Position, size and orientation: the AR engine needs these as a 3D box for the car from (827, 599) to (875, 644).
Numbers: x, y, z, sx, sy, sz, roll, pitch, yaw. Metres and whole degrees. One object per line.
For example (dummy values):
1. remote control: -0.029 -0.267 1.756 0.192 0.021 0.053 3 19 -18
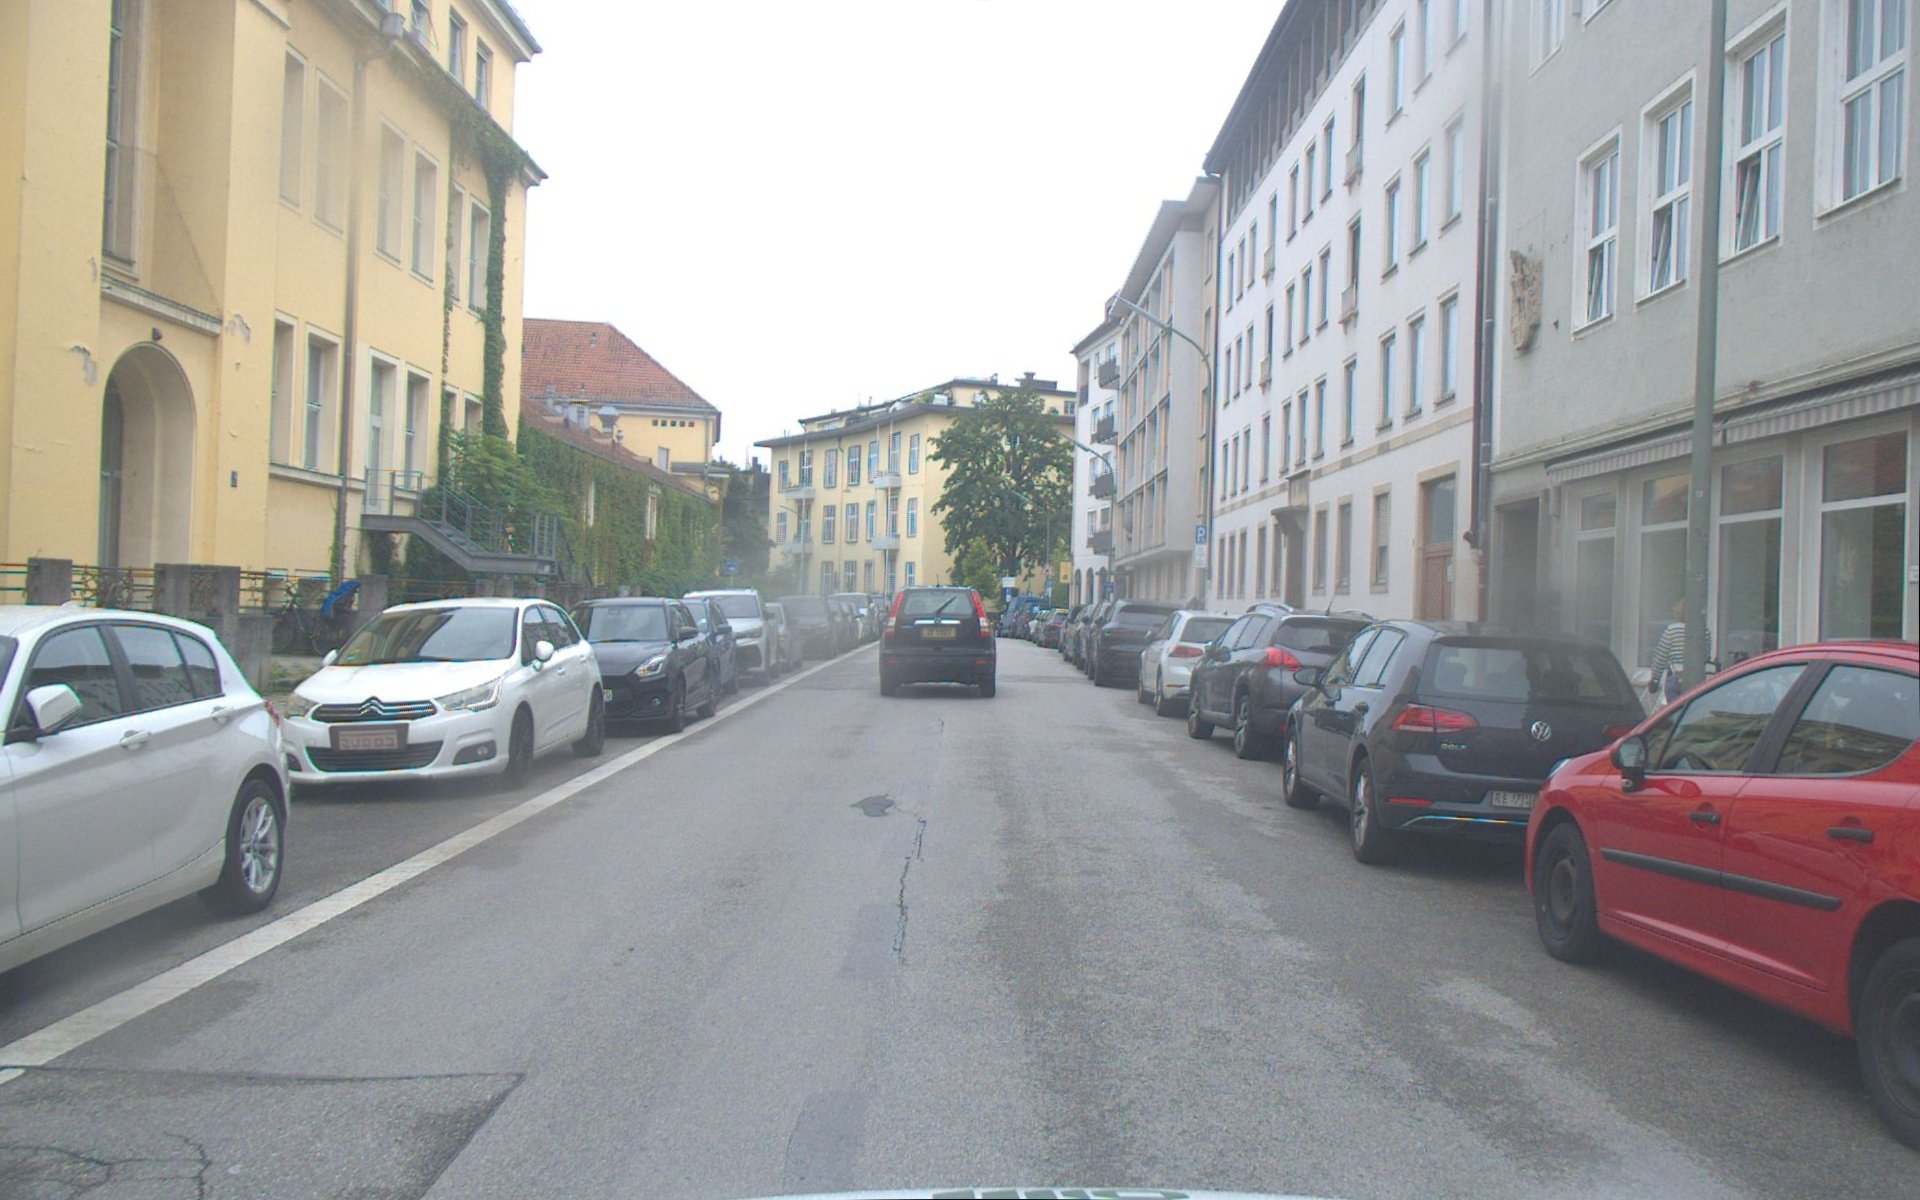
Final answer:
1. car: -3.811 0.724 58.459 1.546 1.518 3.729 0 0 -2

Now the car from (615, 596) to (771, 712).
1. car: -3.866 0.730 24.559 1.645 1.531 3.973 -2 0 0

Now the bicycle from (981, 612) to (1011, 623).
1. bicycle: 2.720 1.354 125.905 2.163 0.793 0.610 1 -1 13

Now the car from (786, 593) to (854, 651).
1. car: -4.047 0.608 48.329 1.746 1.565 4.147 1 0 -2

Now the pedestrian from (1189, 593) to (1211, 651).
1. pedestrian: 6.708 0.617 46.215 0.520 1.612 0.560 0 0 0

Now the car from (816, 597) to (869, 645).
1. car: -3.748 0.648 53.220 1.546 1.481 3.903 0 0 -2

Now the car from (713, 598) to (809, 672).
1. car: -4.132 0.697 34.781 1.646 1.451 3.893 0 0 -2

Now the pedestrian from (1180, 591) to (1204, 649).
1. pedestrian: 6.815 0.571 48.583 0.584 1.683 0.630 0 0 0

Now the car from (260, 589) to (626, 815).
1. car: -4.097 0.717 13.827 1.688 1.554 4.087 -2 0 1

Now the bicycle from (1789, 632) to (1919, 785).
1. bicycle: 7.527 0.833 13.038 0.753 1.093 2.458 1 0 0

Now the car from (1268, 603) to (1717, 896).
1. car: 3.270 0.815 11.018 1.657 1.476 4.083 3 0 1

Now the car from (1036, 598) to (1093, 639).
1. car: 3.886 0.669 62.272 1.759 1.445 4.481 0 0 -2

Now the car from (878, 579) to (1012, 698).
1. car: -0.170 0.549 26.379 1.954 1.724 4.381 0 0 1

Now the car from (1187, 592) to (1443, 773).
1. car: 3.645 0.776 17.703 1.658 1.611 4.081 3 0 -2

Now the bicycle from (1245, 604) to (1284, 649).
1. bicycle: 7.982 0.686 43.411 0.645 1.146 2.028 0 0 0

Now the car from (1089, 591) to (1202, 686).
1. car: 3.412 0.669 31.108 1.741 1.612 4.331 2 0 2

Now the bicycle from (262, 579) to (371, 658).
1. bicycle: -10.748 0.310 27.662 1.525 1.209 0.578 4 0 -1

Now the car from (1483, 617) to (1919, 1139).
1. car: 3.569 0.878 6.346 1.566 1.476 4.300 3 0 -2

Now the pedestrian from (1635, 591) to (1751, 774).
1. pedestrian: 6.807 0.747 15.396 0.719 1.654 0.828 0 0 1

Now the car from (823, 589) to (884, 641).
1. car: -4.088 0.548 63.973 1.952 1.908 4.759 1 0 1

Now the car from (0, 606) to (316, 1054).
1. car: -3.979 0.780 6.224 1.641 1.422 3.995 -2 0 -2

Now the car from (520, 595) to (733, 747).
1. car: -3.754 0.737 19.233 1.645 1.522 3.985 -2 0 0

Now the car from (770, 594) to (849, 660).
1. car: -3.813 0.651 42.486 1.746 1.565 4.194 1 0 -2

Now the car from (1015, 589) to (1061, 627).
1. car: 3.922 0.381 83.830 1.925 1.848 4.933 1 0 -2

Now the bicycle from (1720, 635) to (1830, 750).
1. bicycle: 7.892 0.872 16.070 0.324 1.022 1.521 0 0 0

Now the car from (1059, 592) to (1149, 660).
1. car: 3.548 0.610 41.438 1.818 1.571 4.816 0 0 0

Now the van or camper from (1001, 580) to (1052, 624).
1. van or camper: 3.543 0.086 89.558 2.020 2.270 5.431 0 0 -6

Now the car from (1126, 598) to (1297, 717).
1. car: 3.562 0.765 24.105 1.658 1.489 4.081 3 0 -2

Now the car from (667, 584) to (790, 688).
1. car: -4.014 0.577 29.206 1.646 1.662 4.355 -2 0 -2
